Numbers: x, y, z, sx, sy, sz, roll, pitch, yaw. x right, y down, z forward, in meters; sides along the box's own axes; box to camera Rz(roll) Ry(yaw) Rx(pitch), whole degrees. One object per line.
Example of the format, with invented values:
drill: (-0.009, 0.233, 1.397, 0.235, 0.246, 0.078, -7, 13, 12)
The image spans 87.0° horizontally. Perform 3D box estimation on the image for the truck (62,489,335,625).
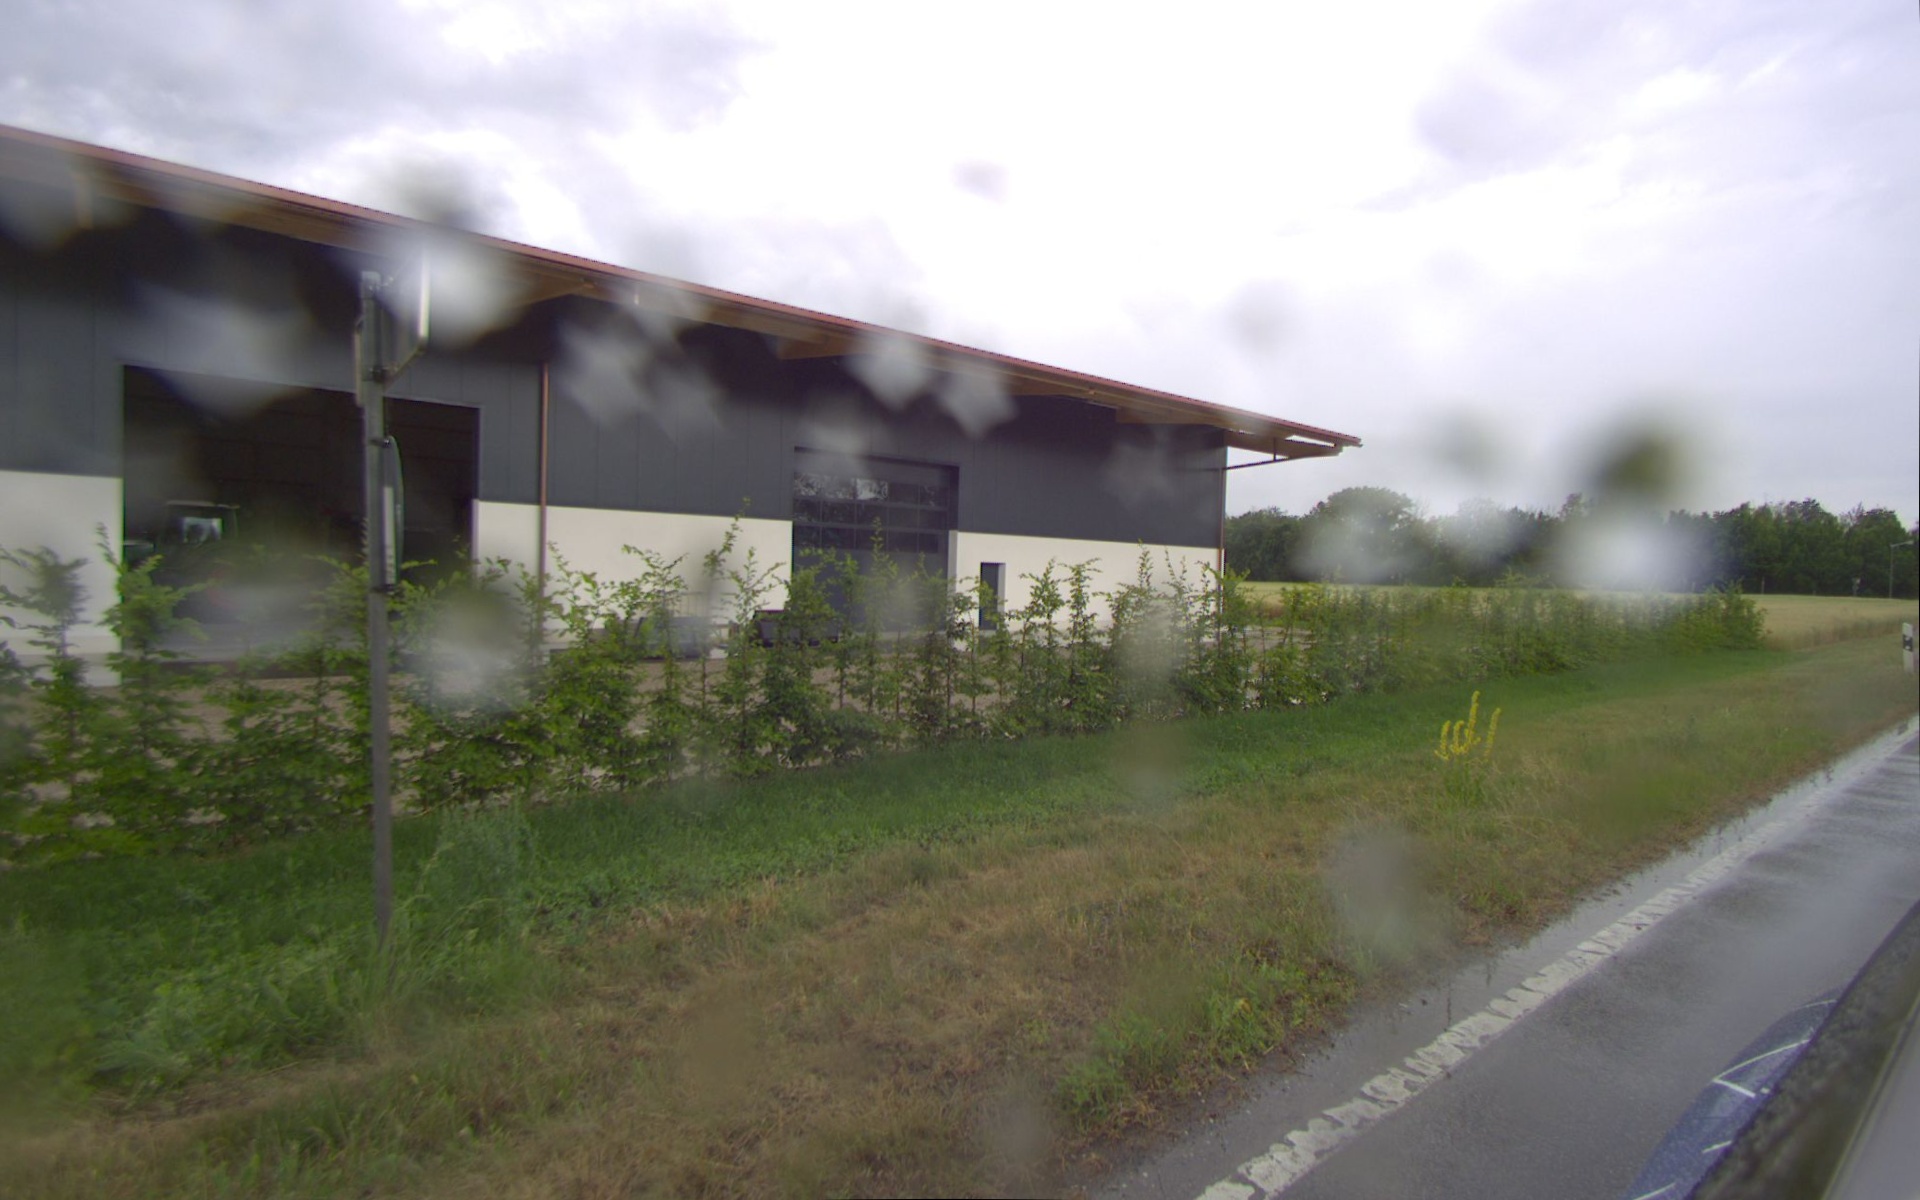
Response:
truck: (-18.937, -1.028, 25.357, 5.250, 3.050, 2.495, 0, 2, -41)
